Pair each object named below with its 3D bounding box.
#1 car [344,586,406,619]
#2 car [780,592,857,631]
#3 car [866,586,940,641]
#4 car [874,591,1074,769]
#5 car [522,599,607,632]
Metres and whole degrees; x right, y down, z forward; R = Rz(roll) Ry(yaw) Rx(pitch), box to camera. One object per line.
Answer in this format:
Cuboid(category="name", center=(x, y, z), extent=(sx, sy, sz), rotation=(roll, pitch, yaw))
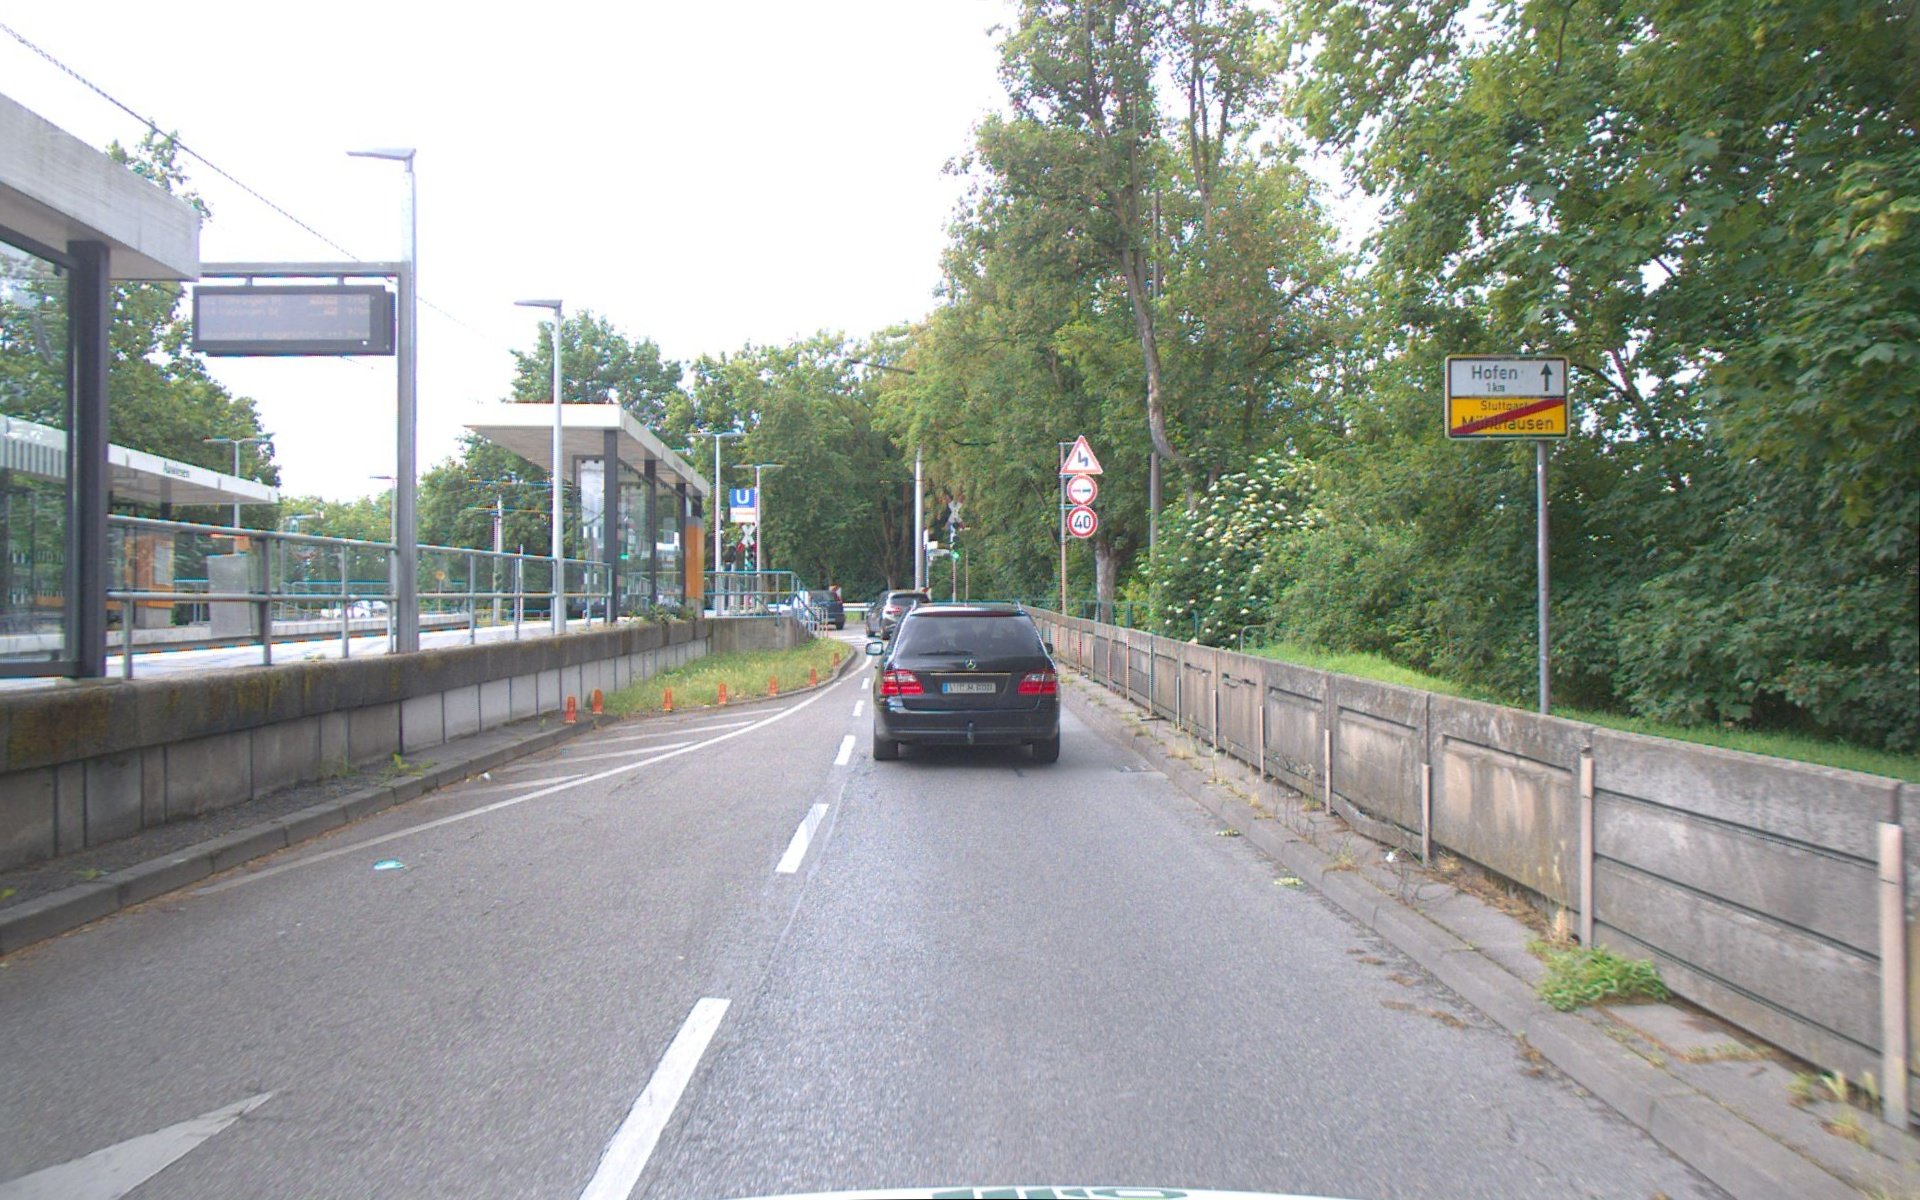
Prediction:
Cuboid(category="car", center=(-31.652, 0.135, 89.495), extent=(3.326, 1.736, 1.606), rotation=(0, -2, 38))
Cuboid(category="car", center=(-5.439, 0.417, 63.142), extent=(1.965, 1.423, 3.975), rotation=(0, 0, -21))
Cuboid(category="car", center=(-1.857, 0.420, 52.844), extent=(1.750, 1.677, 3.989), rotation=(0, 0, -11))
Cuboid(category="car", center=(0.106, 0.694, 16.490), extent=(1.745, 1.552, 4.000), rotation=(0, 0, -1))
Cuboid(category="car", center=(-18.177, 0.695, 75.962), extent=(3.929, 1.423, 1.988), rotation=(0, 0, 42))
